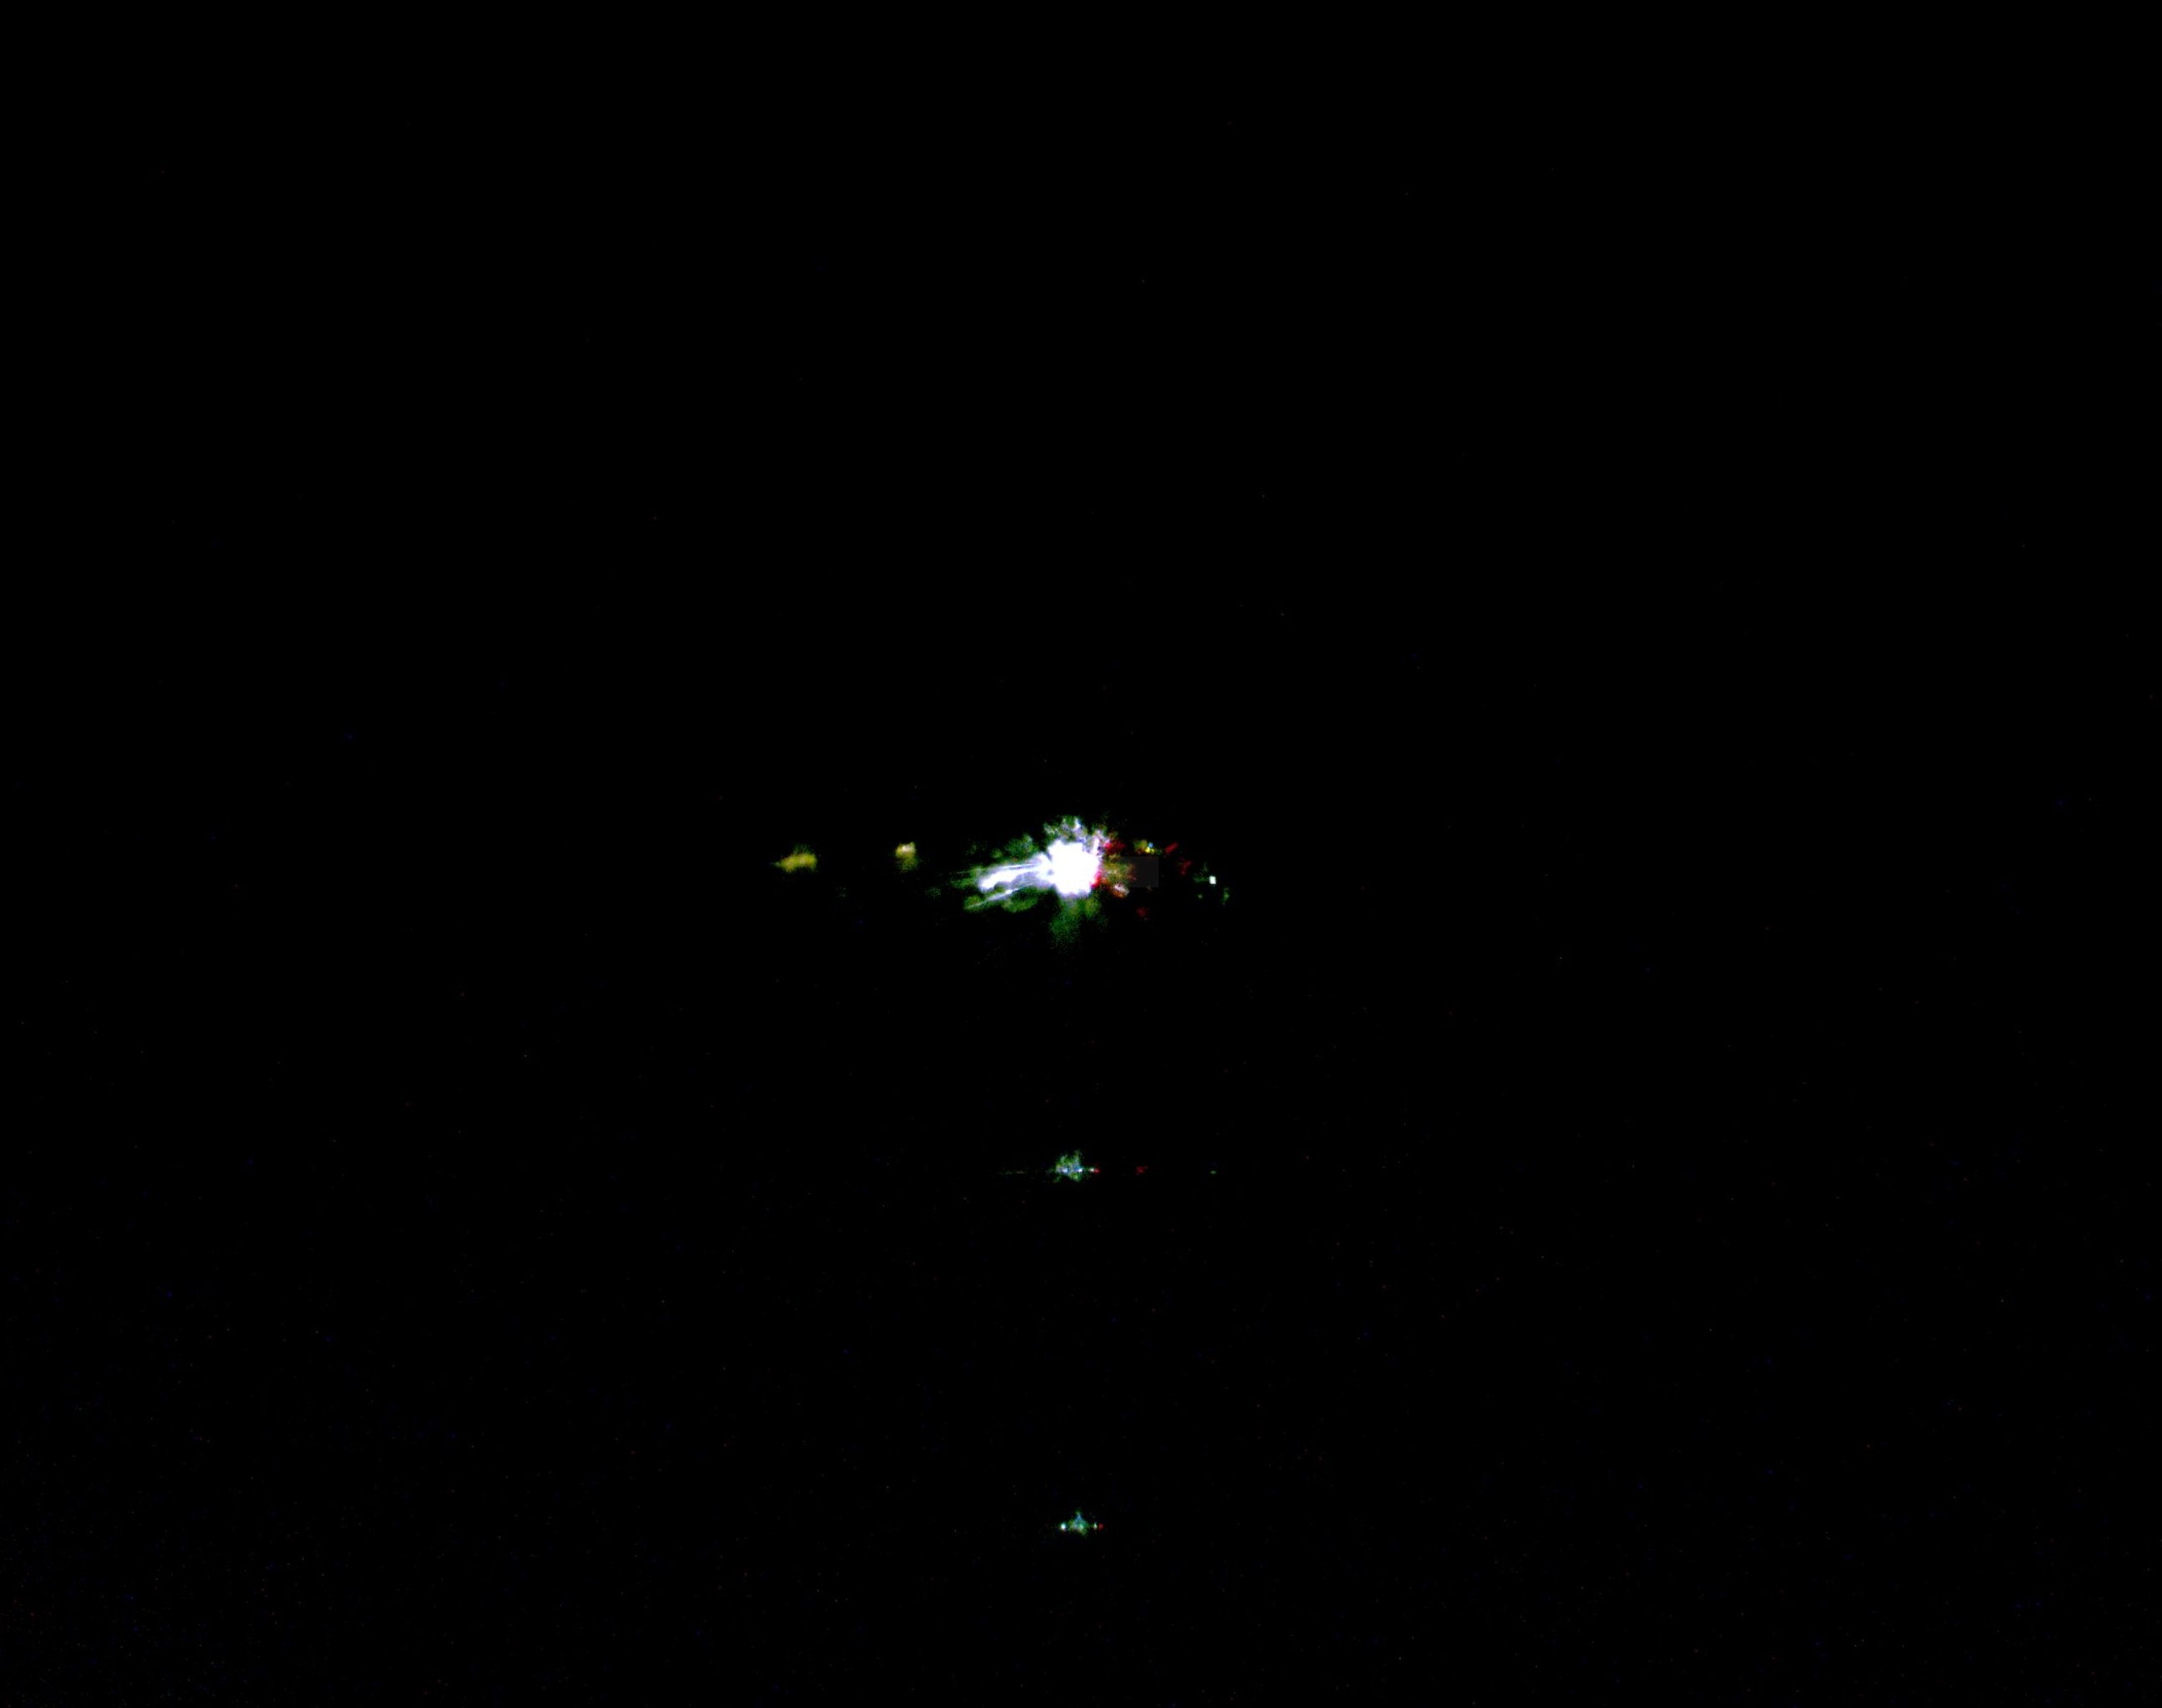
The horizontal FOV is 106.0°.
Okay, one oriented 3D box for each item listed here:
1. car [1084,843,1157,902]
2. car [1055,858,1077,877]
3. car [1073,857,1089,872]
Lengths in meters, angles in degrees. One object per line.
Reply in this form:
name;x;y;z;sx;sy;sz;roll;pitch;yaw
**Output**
car;1.402;0.636;29.962;2.449;1.958;4.913;-1;-1;1
car;-1.323;1.199;72.645;1.789;1.538;3.800;-3;0;0
car;0.012;1.368;104.894;1.848;1.683;4.327;-3;0;2
